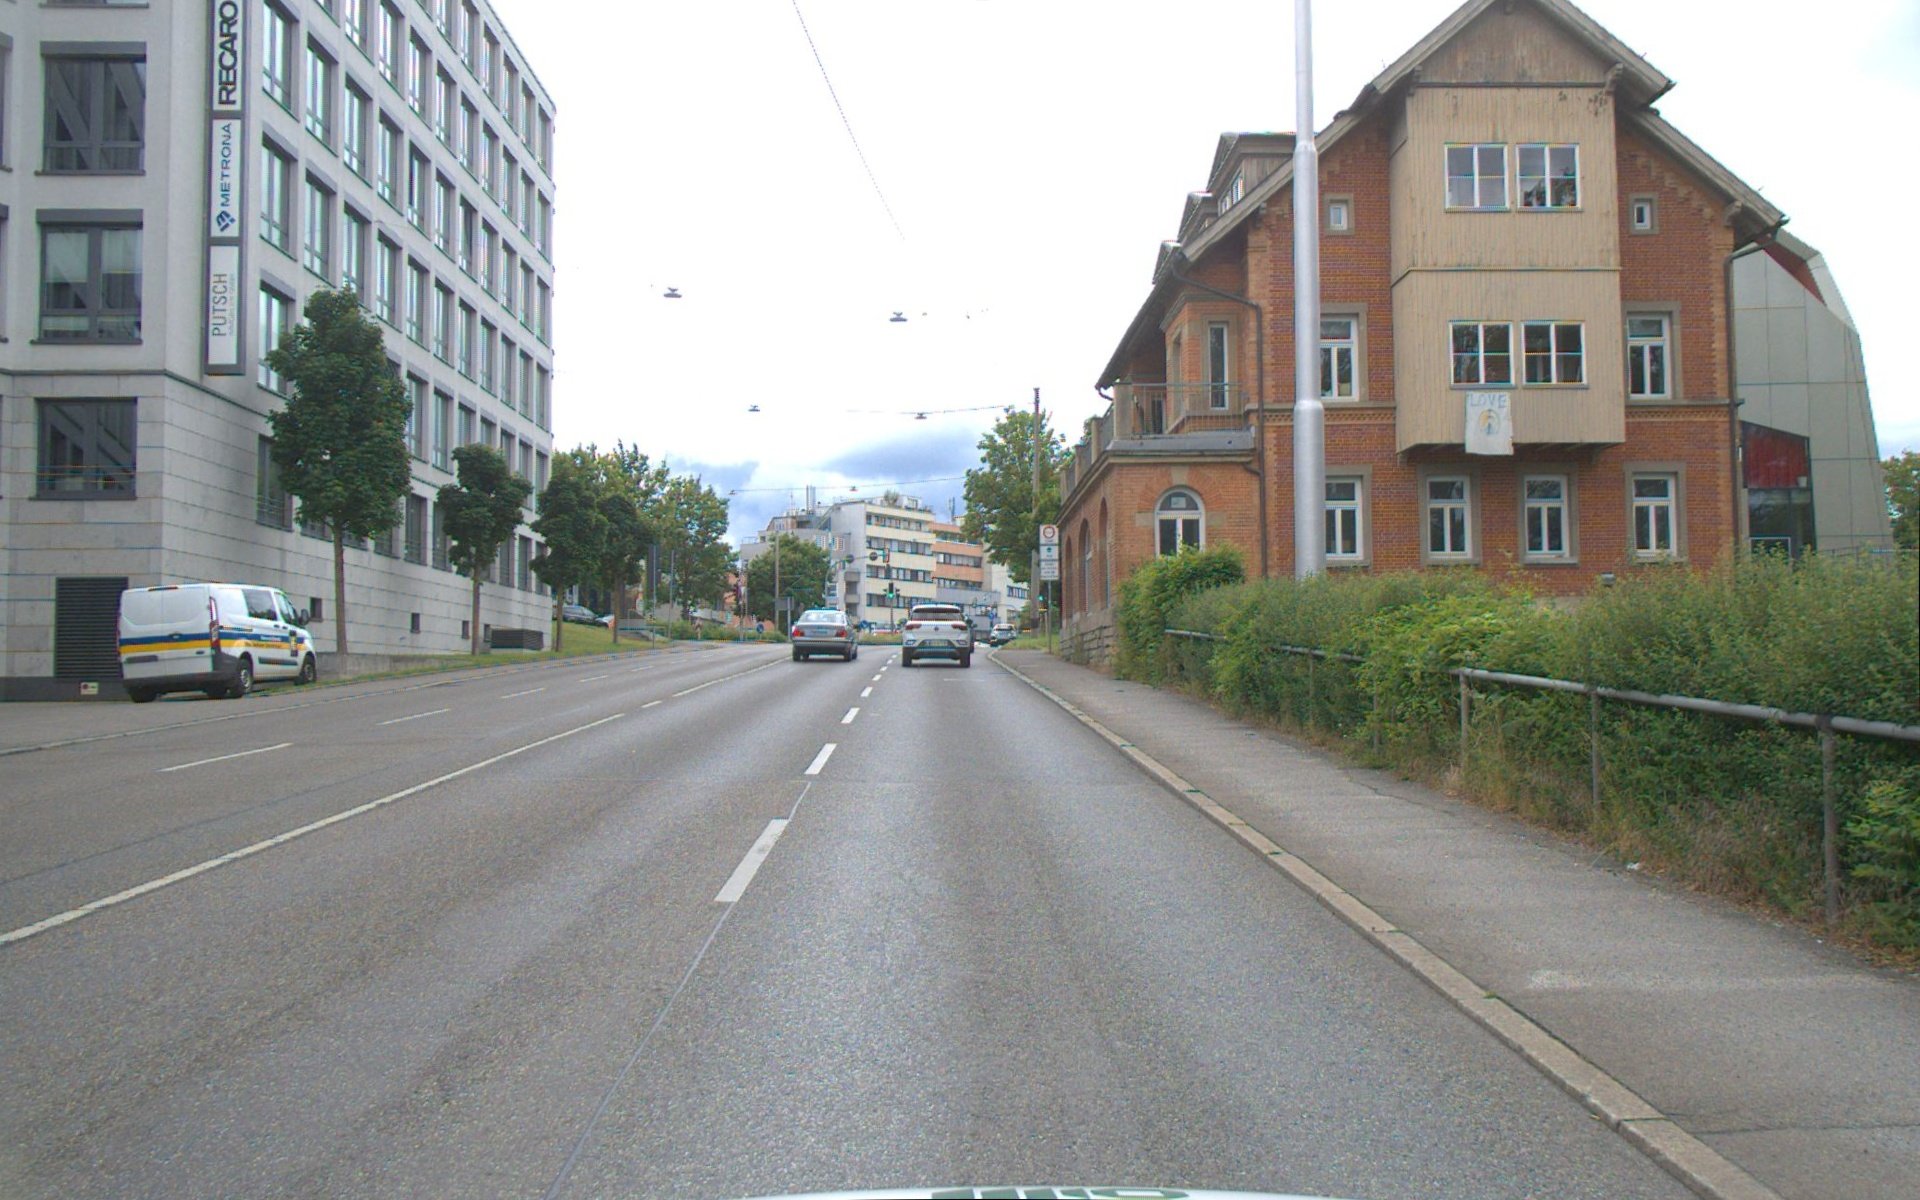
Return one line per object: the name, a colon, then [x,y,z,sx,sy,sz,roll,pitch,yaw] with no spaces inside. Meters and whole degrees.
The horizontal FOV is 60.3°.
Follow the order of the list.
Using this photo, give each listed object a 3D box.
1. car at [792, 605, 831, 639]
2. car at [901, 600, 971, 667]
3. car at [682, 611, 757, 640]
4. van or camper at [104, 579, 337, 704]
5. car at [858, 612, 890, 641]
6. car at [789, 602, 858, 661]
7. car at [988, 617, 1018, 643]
car: [-8.665,1.287,96.797,1.832,1.820,4.653,-3,-1,-1]
car: [-0.639,0.832,43.014,1.665,1.575,3.735,3,0,-1]
car: [-13.301,1.401,91.617,1.750,1.571,3.974,-1,-2,42]
van or camper: [-13.431,0.716,30.429,2.018,2.002,4.872,-3,0,0]
car: [-5.547,1.706,106.938,1.832,1.731,4.428,-3,-1,-1]
car: [-3.766,0.853,46.042,1.665,1.542,3.735,0,0,-1]
car: [2.721,1.871,104.622,1.733,1.598,4.286,0,-1,3]
